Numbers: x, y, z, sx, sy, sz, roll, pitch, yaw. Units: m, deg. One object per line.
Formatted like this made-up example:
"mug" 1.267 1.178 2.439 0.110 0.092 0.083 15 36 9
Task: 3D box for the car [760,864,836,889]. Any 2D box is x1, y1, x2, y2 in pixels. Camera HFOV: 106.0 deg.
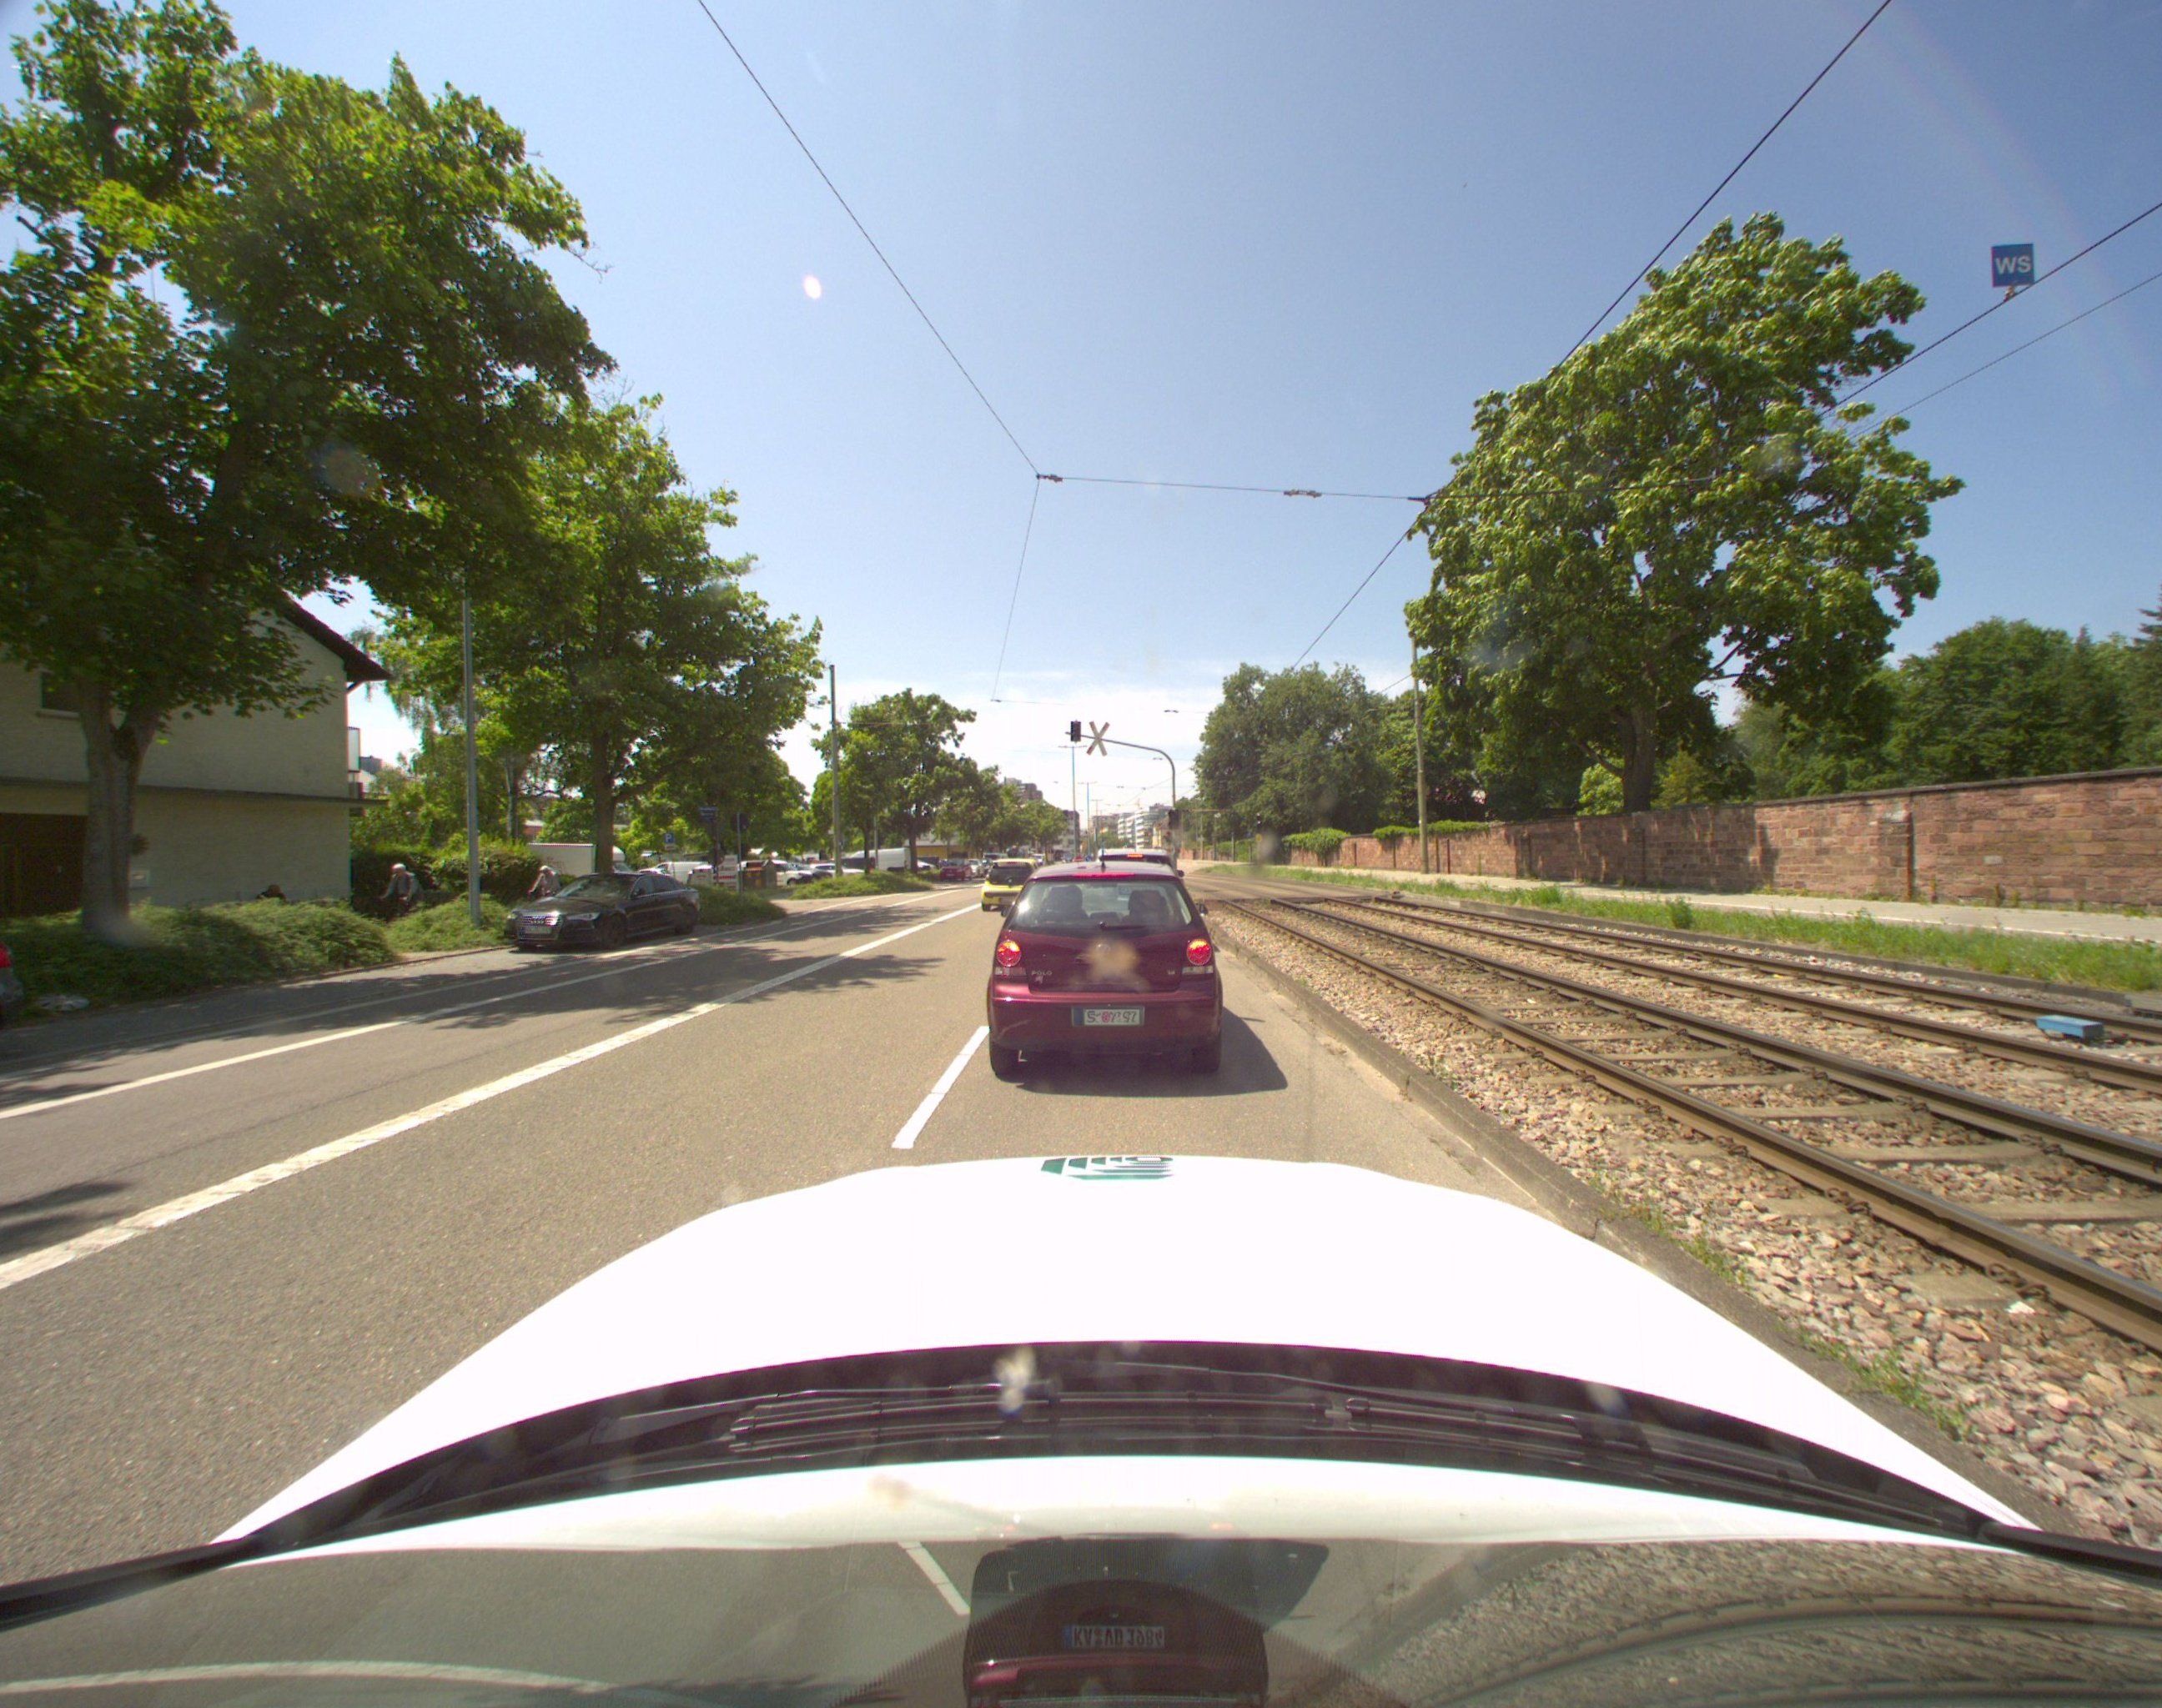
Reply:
"car" -18.371 1.433 53.081 4.185 1.403 2.079 -2 0 -2

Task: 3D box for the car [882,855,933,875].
"car" -17.540 1.109 82.497 4.702 1.813 1.797 -2 0 0

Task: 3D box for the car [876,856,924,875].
"car" -17.750 1.133 80.084 4.195 1.765 1.857 -2 0 0

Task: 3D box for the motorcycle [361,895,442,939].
"motorcycle" -14.678 1.346 17.629 0.524 0.825 1.372 1 0 3

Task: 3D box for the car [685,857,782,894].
"car" -19.316 1.181 45.407 4.438 1.857 2.059 -2 0 -3

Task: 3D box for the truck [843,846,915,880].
"truck" -17.723 0.785 71.764 5.555 2.759 2.434 -2 0 3

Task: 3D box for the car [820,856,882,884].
"car" -18.007 1.231 63.836 4.195 1.995 1.857 -2 0 0

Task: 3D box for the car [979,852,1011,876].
"car" -7.542 0.872 71.615 1.854 1.937 4.811 2 0 4

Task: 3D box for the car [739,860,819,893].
"car" -18.572 1.375 50.140 4.247 1.835 1.675 -2 0 4

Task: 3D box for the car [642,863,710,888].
"car" -30.703 1.615 61.807 4.112 1.820 1.971 -1 0 1

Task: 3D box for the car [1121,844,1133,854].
"car" 9.212 -0.918 164.109 1.914 1.910 4.566 -2 0 -3

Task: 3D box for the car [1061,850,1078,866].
"car" -1.459 0.537 106.027 1.911 1.910 4.573 -3 0 2

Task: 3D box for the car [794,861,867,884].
"car" -18.763 1.395 61.164 4.745 1.488 2.058 -2 0 0

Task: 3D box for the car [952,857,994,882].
"car" -8.068 1.144 61.364 1.709 1.426 4.782 -8 0 8

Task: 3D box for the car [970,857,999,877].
"car" -7.825 1.040 66.346 1.607 1.484 3.789 2 0 4

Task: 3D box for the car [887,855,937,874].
"car" -17.573 1.122 84.728 4.702 1.813 1.797 -2 0 0

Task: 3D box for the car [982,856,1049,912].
"car" -1.812 0.805 23.450 1.545 1.448 3.413 0 0 2

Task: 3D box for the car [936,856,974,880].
"car" -8.395 0.930 54.623 1.664 1.546 3.731 0 -1 4

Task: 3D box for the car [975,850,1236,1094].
"car" 0.214 0.728 7.032 1.603 1.498 4.002 0 0 2

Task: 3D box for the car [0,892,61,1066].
"car" -10.237 1.100 5.403 1.670 1.486 4.130 0 0 2

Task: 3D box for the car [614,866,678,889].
"car" -31.678 1.717 59.385 3.733 1.576 1.733 -1 0 1

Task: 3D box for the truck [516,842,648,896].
"truck" -31.562 0.925 51.686 6.954 3.227 2.150 -1 0 0

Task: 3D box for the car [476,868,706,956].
"car" -9.905 1.083 17.026 1.888 1.456 4.809 0 0 0

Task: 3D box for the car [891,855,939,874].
"car" -17.684 1.138 86.859 4.702 1.813 1.797 -2 0 0

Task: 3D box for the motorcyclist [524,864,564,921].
"motorcyclist" -14.494 1.022 21.979 0.584 1.503 0.663 1 0 3

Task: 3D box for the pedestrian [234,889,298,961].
"pedestrian" -17.951 1.546 17.949 0.789 1.510 0.610 -2 0 8

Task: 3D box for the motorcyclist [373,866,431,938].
"motorcyclist" -14.686 1.017 17.632 0.584 1.503 0.726 1 0 3

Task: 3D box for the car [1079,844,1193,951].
"car" 0.937 0.684 14.901 1.788 1.683 4.002 0 0 2
